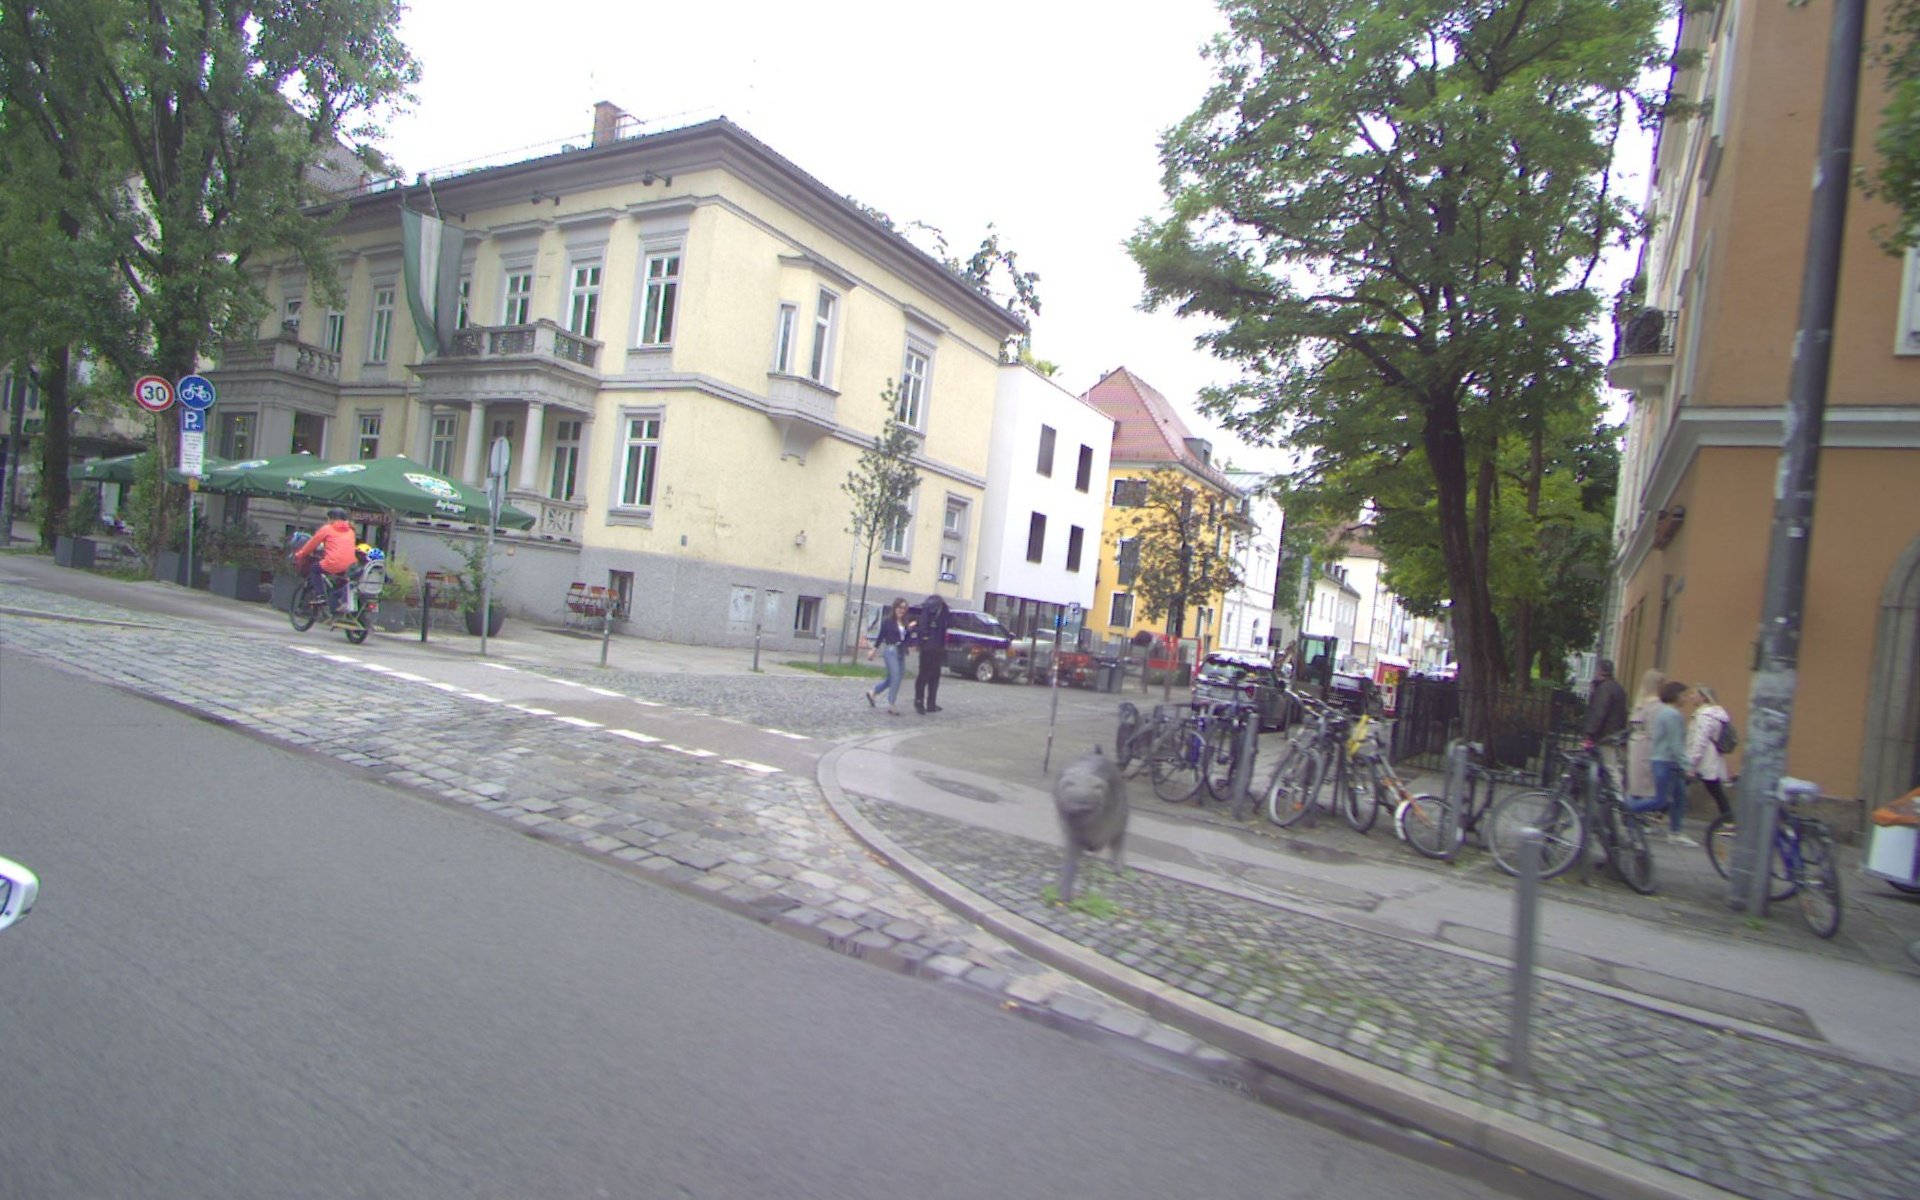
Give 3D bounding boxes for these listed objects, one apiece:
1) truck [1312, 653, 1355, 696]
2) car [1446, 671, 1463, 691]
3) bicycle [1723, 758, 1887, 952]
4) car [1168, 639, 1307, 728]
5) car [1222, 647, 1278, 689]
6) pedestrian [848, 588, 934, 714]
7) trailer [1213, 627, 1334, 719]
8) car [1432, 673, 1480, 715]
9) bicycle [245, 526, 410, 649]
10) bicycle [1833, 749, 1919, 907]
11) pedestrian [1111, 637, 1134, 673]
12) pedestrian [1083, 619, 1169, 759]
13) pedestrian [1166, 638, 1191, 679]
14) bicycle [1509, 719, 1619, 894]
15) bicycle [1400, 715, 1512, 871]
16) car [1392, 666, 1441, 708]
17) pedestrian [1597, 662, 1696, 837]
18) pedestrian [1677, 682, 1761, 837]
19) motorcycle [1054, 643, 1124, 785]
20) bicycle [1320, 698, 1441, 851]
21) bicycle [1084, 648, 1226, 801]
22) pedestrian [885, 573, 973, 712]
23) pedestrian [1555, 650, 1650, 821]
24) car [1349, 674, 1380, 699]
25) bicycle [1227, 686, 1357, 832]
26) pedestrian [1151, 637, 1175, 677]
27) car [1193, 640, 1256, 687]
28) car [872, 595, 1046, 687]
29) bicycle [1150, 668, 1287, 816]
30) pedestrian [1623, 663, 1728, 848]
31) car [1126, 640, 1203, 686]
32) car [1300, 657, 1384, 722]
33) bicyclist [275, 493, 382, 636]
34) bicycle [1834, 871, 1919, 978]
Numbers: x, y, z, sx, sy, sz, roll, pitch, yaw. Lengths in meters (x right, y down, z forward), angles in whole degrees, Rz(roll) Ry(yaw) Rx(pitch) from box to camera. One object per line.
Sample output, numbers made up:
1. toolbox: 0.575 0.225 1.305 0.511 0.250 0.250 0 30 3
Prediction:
1. truck: 24.630 4.945 66.267 1.845 2.499 3.997 7 -1 28
2. car: 66.538 10.881 135.408 1.672 2.446 3.997 7 -1 28
3. bicycle: 5.832 1.700 7.020 0.336 1.022 1.602 7 0 24
4. car: 6.162 1.869 22.043 1.874 1.537 3.997 6 -2 30
5. car: 14.019 3.316 48.538 1.672 1.706 3.997 7 -2 28
6. pedestrian: -0.989 0.740 14.479 0.758 1.680 0.745 7 -1 31
7. trailer: 8.620 2.024 27.315 1.874 2.052 5.250 7 -1 30
8. car: 27.947 5.329 56.597 1.967 2.036 3.996 6 -2 31
9. bicycle: -8.557 -0.184 13.571 2.408 1.366 0.773 7 0 31
10. bicycle: 8.648 1.981 8.218 2.062 1.134 0.888 7 0 5
11. pedestrian: 7.019 2.369 43.353 0.590 1.426 0.800 7 -1 28
12. pedestrian: 2.028 1.078 12.236 0.605 1.589 0.745 7 -1 34
13. pedestrian: 10.373 2.788 47.767 0.752 1.815 0.873 7 1 26
14. bicycle: 4.795 1.553 7.984 0.551 1.097 1.943 7 0 32
15. bicycle: 4.165 1.531 8.369 0.551 1.022 1.943 7 0 32
16. car: 26.160 5.018 57.633 1.967 2.036 3.996 6 -2 31
17. pedestrian: 7.239 1.554 10.635 0.564 1.713 0.635 7 -1 21
18. pedestrian: 8.466 1.761 11.243 0.565 1.589 0.698 7 -1 34
19. motorcycle: 1.305 1.109 10.388 0.505 1.236 1.961 7 0 6
20. bicycle: 3.669 1.433 8.684 0.551 1.089 1.943 7 0 32
21. bicycle: 1.910 1.152 9.607 0.551 1.254 1.943 7 0 32
22. pedestrian: -0.456 0.653 15.170 0.788 1.971 0.840 7 -1 27
23. pedestrian: 7.297 1.523 11.430 0.720 1.786 0.698 7 -1 34
24. car: 31.420 6.715 78.025 1.672 1.706 3.997 7 -2 28
25. bicycle: 3.015 1.358 9.005 0.551 1.102 1.943 7 0 32
26. pedestrian: 9.712 2.712 48.157 0.752 1.815 0.873 7 1 26
27. car: 11.609 2.808 43.995 1.672 1.706 3.997 7 -2 28
28. car: 0.092 1.058 24.693 1.940 1.721 4.420 6 -3 35
29. bicycle: 2.426 1.251 9.251 0.551 1.151 1.943 7 0 32
30. pedestrian: 7.124 1.526 10.042 0.564 1.713 0.619 7 -1 23
31. car: 7.735 2.408 37.774 1.672 1.416 3.997 7 -2 28
32. car: 12.342 2.884 32.331 1.965 1.703 3.999 7 -2 27
33. bicyclist: -8.504 -0.472 13.558 0.870 1.788 0.768 7 1 31
34. bicycle: 6.153 2.083 6.068 0.816 0.378 1.676 7 1 23
